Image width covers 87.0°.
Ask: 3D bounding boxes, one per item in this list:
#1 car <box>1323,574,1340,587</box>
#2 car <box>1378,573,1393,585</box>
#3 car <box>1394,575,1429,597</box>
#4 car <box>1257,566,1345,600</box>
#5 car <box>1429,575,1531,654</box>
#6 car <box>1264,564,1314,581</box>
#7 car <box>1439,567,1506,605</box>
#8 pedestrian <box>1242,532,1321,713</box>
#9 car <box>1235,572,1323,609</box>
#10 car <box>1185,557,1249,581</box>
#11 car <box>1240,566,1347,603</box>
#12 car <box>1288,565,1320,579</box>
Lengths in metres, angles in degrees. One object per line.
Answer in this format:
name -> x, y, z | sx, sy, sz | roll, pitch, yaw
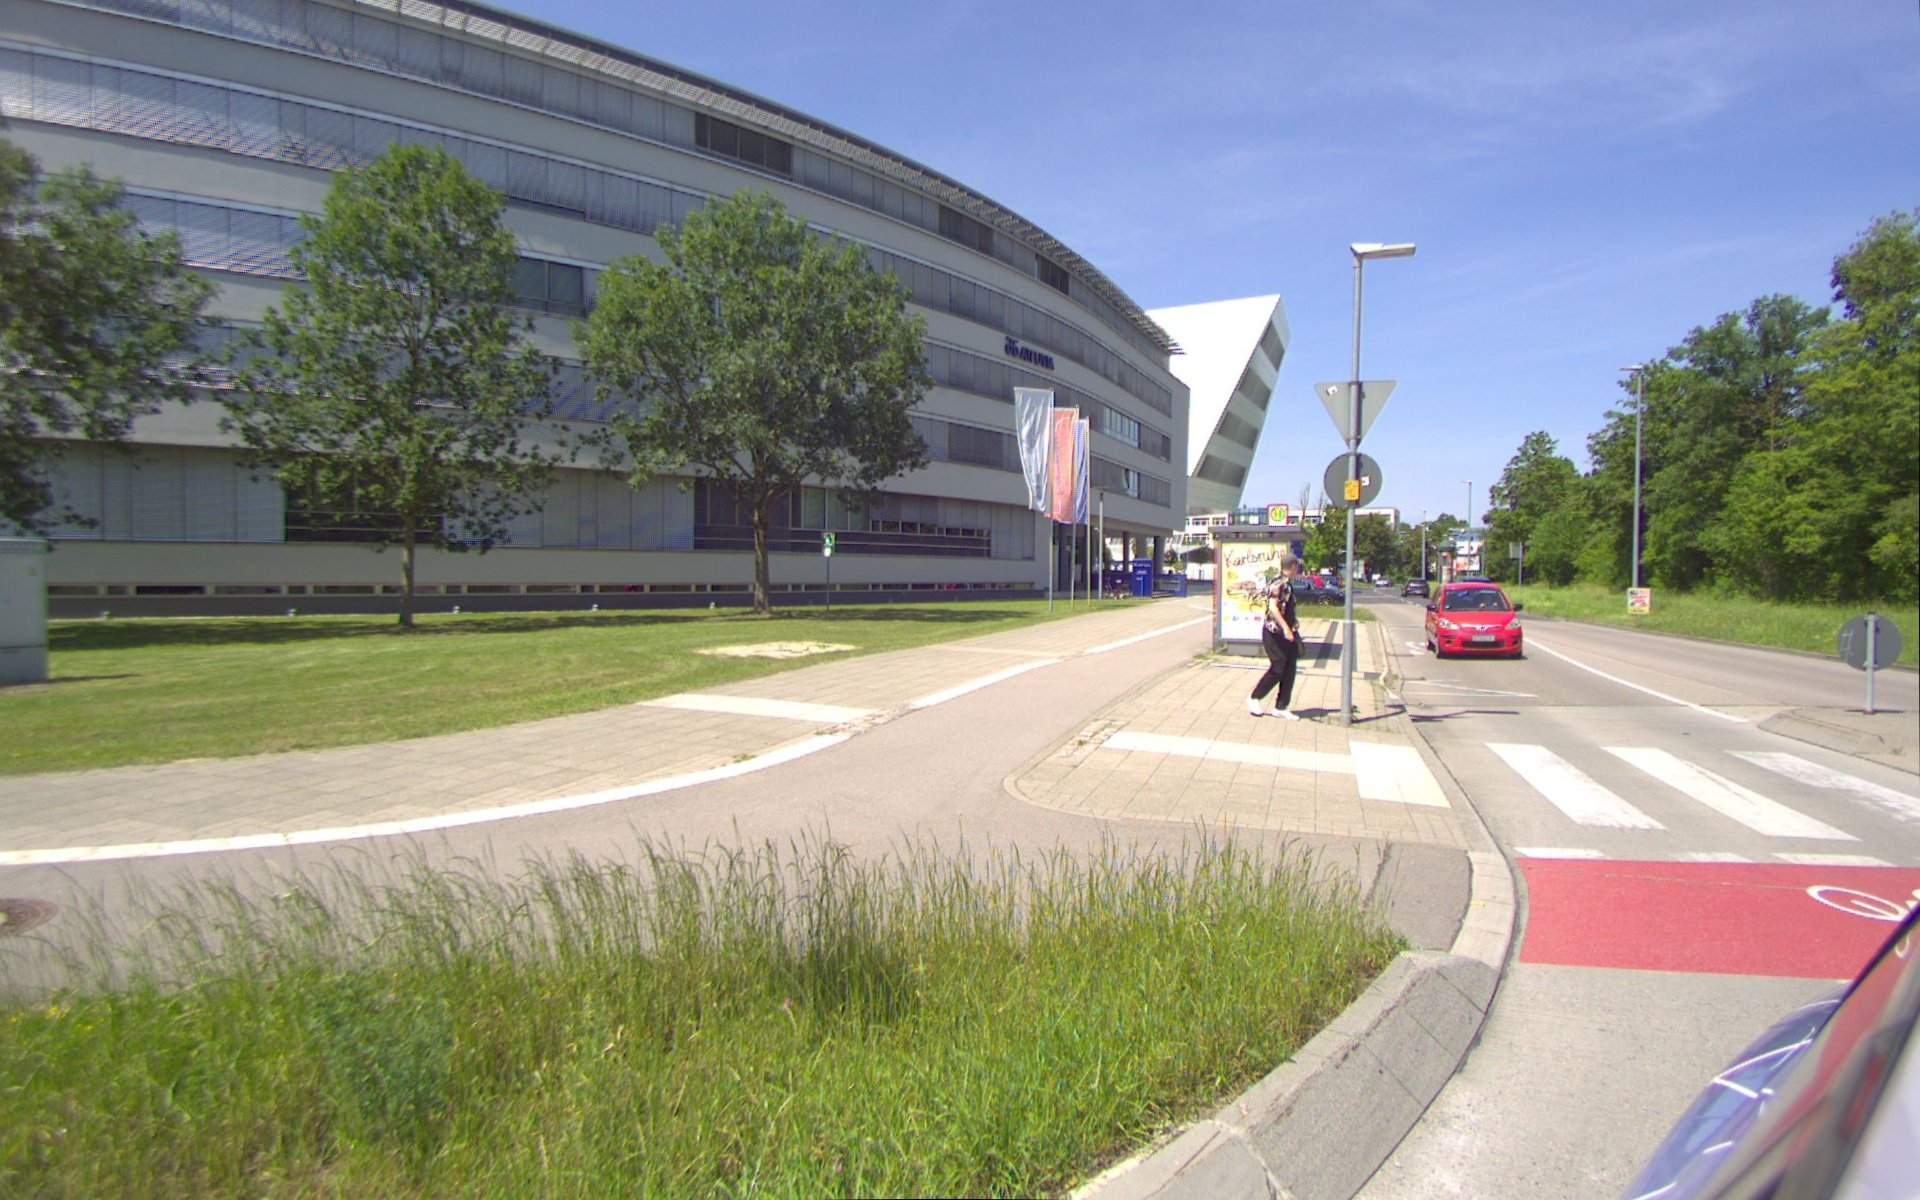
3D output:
car -> 44.907, -2.416, 122.425 | 1.780, 1.517, 3.976 | -1, 2, 19
car -> 60.821, -2.989, 144.751 | 1.977, 1.651, 3.971 | 0, 2, 22
car -> 33.530, -1.027, 75.211 | 1.975, 1.497, 4.262 | 2, 1, 19
car -> 17.926, -0.923, 53.152 | 4.284, 1.582, 1.773 | 2, 2, 22
car -> 11.056, 0.242, 21.708 | 1.644, 1.522, 3.333 | 0, 2, 22
car -> 46.213, -3.878, 142.045 | 6.437, 2.176, 2.145 | 0, 1, 28
car -> 23.749, -0.627, 47.022 | 1.972, 1.616, 4.299 | 1, 0, 16
pedestrian -> 3.484, 0.214, 10.945 | 0.702, 1.844, 0.821 | 3, 2, 21
car -> 15.514, -0.507, 49.248 | 3.955, 1.675, 1.825 | 1, 2, 23
car -> 30.166, -3.644, 118.968 | 6.910, 2.695, 2.232 | 0, 1, 30
car -> 15.284, -0.746, 46.444 | 4.525, 1.449, 1.816 | 3, 3, 20
car -> 49.884, -4.080, 146.726 | 4.169, 2.000, 1.688 | 0, 1, 28
